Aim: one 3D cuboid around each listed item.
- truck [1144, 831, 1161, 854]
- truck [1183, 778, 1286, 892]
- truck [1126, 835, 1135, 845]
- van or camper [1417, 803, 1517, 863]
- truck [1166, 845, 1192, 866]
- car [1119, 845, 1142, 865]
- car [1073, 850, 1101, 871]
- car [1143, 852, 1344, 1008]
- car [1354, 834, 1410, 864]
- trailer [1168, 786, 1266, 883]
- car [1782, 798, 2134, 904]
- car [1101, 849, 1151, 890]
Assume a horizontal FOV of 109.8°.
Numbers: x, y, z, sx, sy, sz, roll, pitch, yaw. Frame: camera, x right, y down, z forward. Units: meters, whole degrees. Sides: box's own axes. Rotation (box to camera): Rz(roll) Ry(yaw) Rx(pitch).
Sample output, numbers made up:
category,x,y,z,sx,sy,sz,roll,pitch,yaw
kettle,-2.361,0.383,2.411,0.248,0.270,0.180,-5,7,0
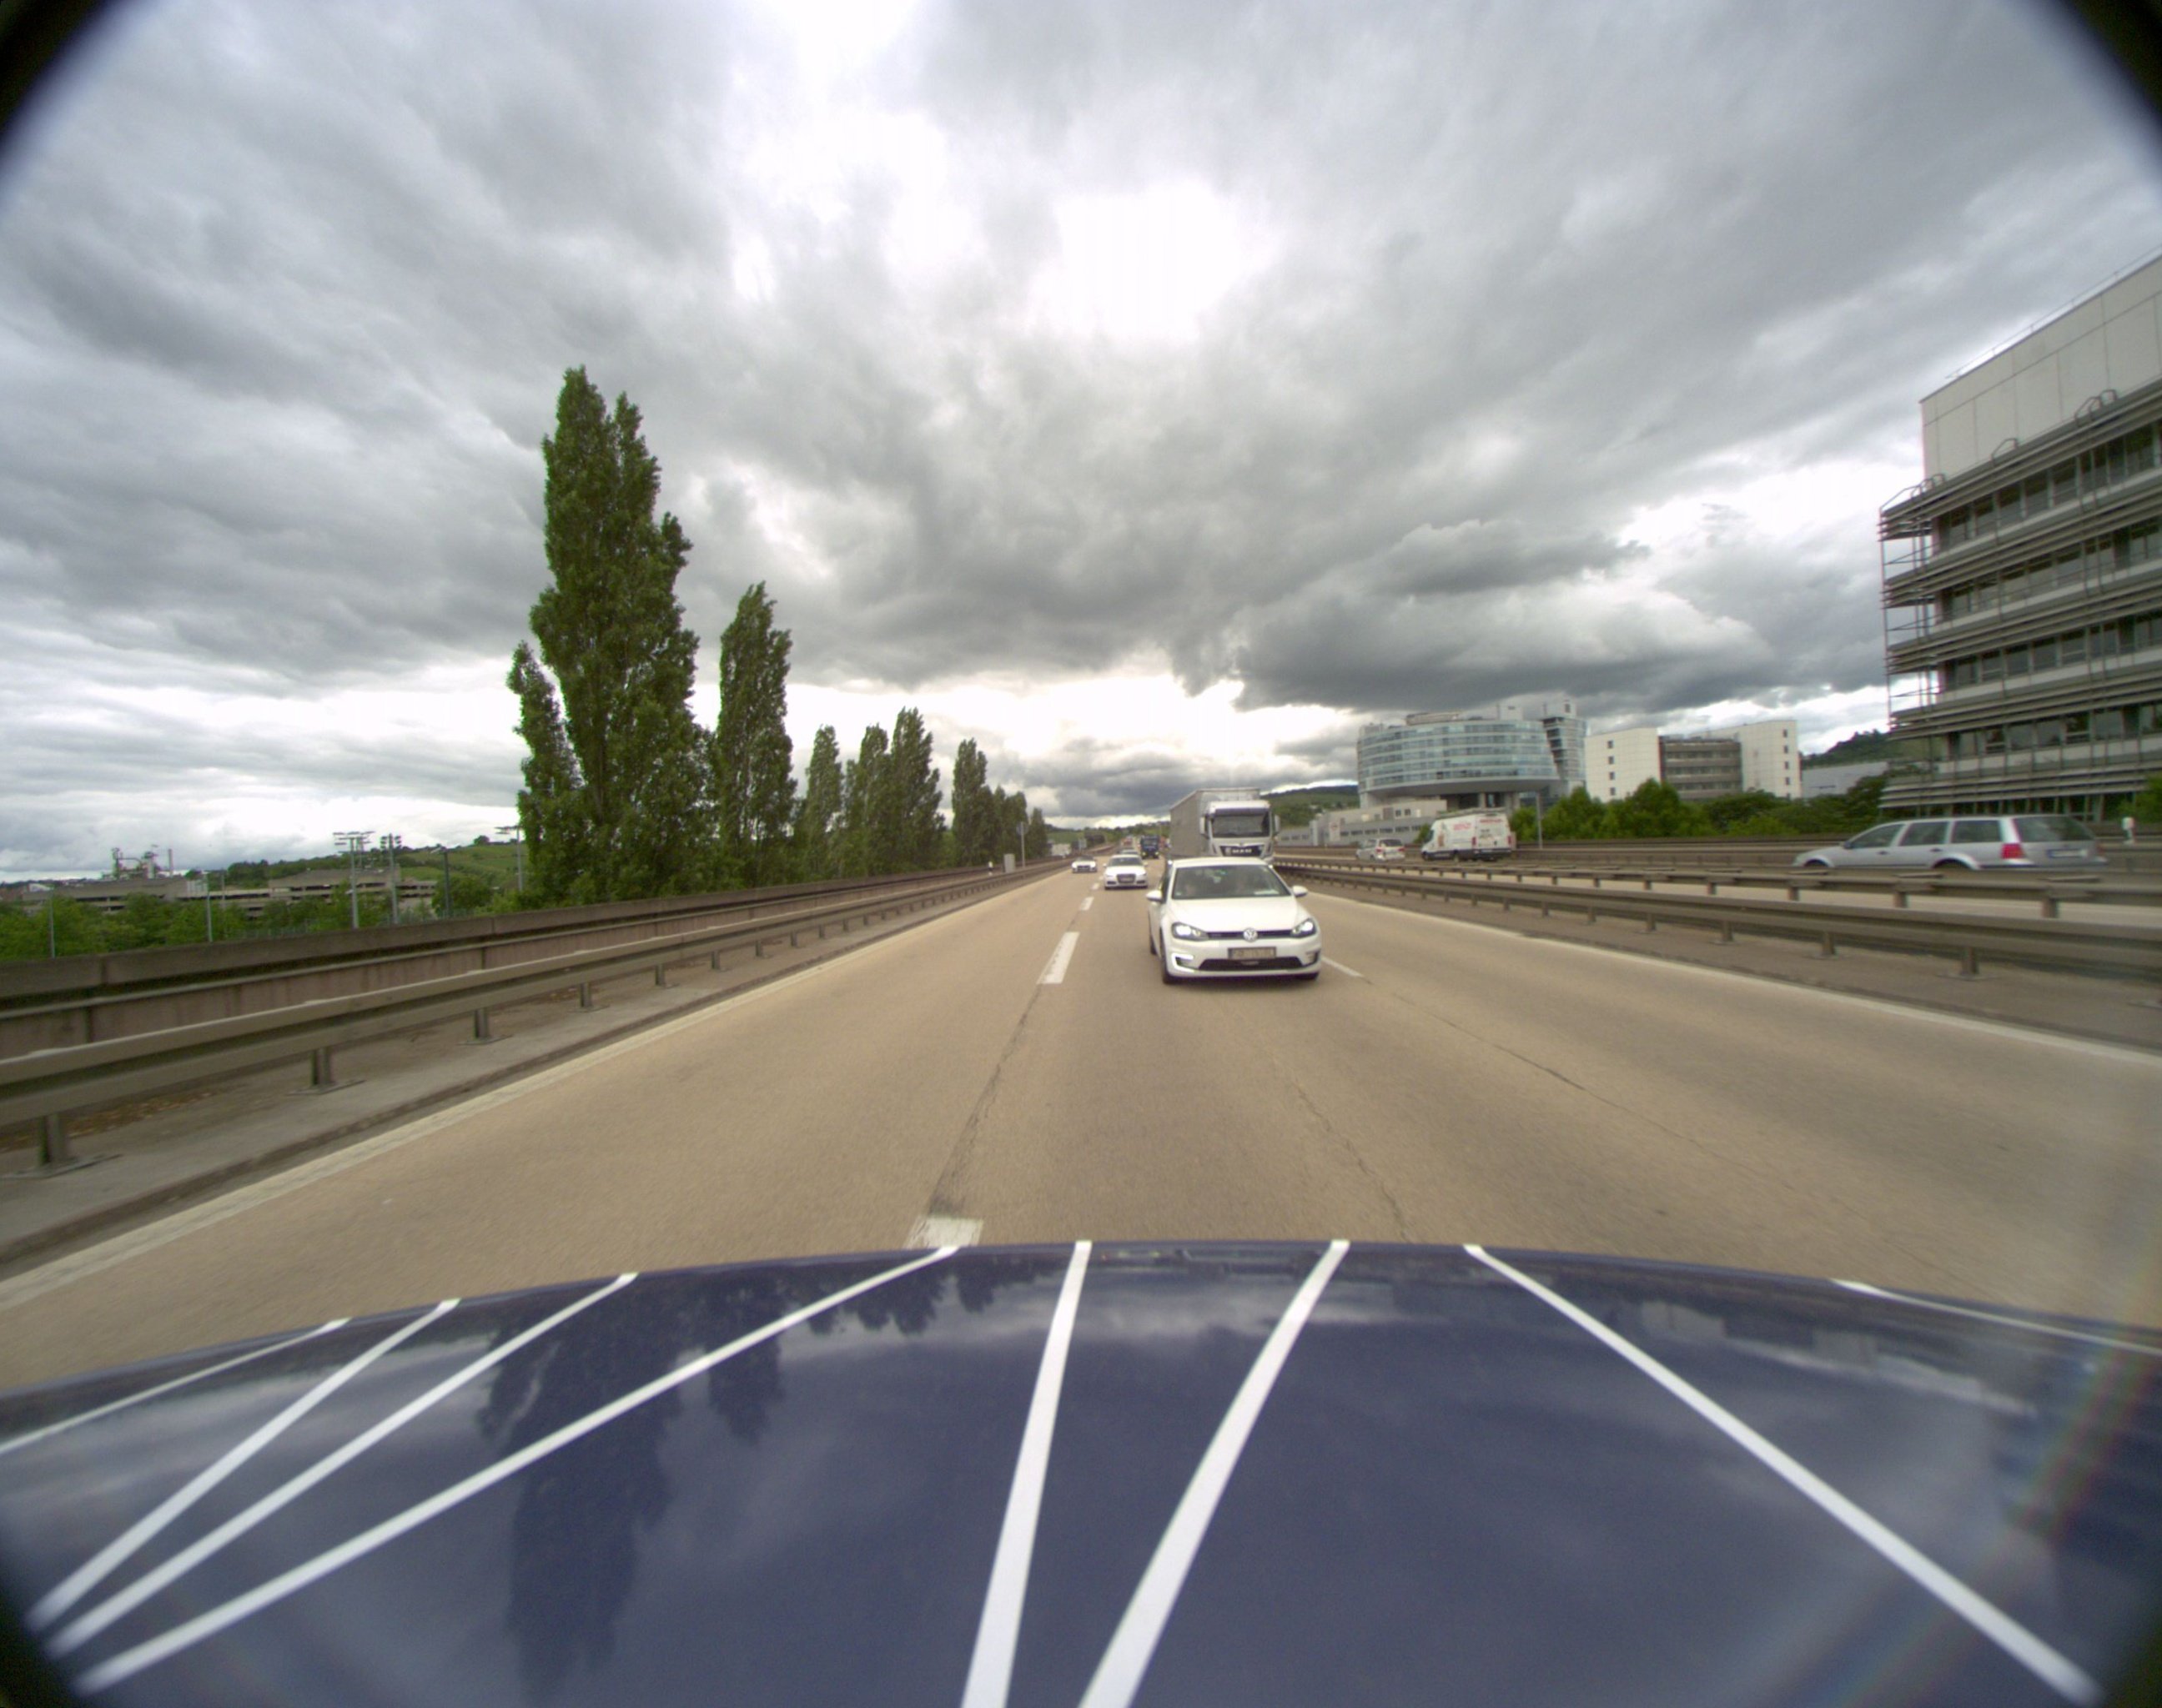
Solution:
category,x,y,z,sx,sy,sz,roll,pitch,yaw
truck,10.606,-1.693,112.878,2.336,3.219,6.687,-2,1,4
truck,5.993,-0.738,30.684,3.141,4.014,5.689,-3,1,4
truck,15.857,-4.561,244.098,2.625,3.219,6.687,-2,1,4
van or camper,21.224,-1.112,42.210,2.176,2.991,7.118,-2,1,3
truck,7.770,0.116,60.575,1.829,1.521,3.514,-2,1,3
car,4.488,0.062,69.076,1.930,1.585,4.061,-3,1,3
car,0.521,0.468,60.732,1.930,1.499,4.061,-3,1,3
car,1.838,0.786,9.875,1.930,1.499,4.061,-2,1,3
car,17.624,-0.322,44.715,1.687,1.641,4.312,-3,1,3
trailer,6.509,-0.919,38.396,3.189,4.003,11.765,-3,1,3
car,16.306,-0.072,14.580,1.687,1.641,4.448,-3,1,2
car,1.915,0.596,32.499,1.930,1.499,4.061,-3,1,3
